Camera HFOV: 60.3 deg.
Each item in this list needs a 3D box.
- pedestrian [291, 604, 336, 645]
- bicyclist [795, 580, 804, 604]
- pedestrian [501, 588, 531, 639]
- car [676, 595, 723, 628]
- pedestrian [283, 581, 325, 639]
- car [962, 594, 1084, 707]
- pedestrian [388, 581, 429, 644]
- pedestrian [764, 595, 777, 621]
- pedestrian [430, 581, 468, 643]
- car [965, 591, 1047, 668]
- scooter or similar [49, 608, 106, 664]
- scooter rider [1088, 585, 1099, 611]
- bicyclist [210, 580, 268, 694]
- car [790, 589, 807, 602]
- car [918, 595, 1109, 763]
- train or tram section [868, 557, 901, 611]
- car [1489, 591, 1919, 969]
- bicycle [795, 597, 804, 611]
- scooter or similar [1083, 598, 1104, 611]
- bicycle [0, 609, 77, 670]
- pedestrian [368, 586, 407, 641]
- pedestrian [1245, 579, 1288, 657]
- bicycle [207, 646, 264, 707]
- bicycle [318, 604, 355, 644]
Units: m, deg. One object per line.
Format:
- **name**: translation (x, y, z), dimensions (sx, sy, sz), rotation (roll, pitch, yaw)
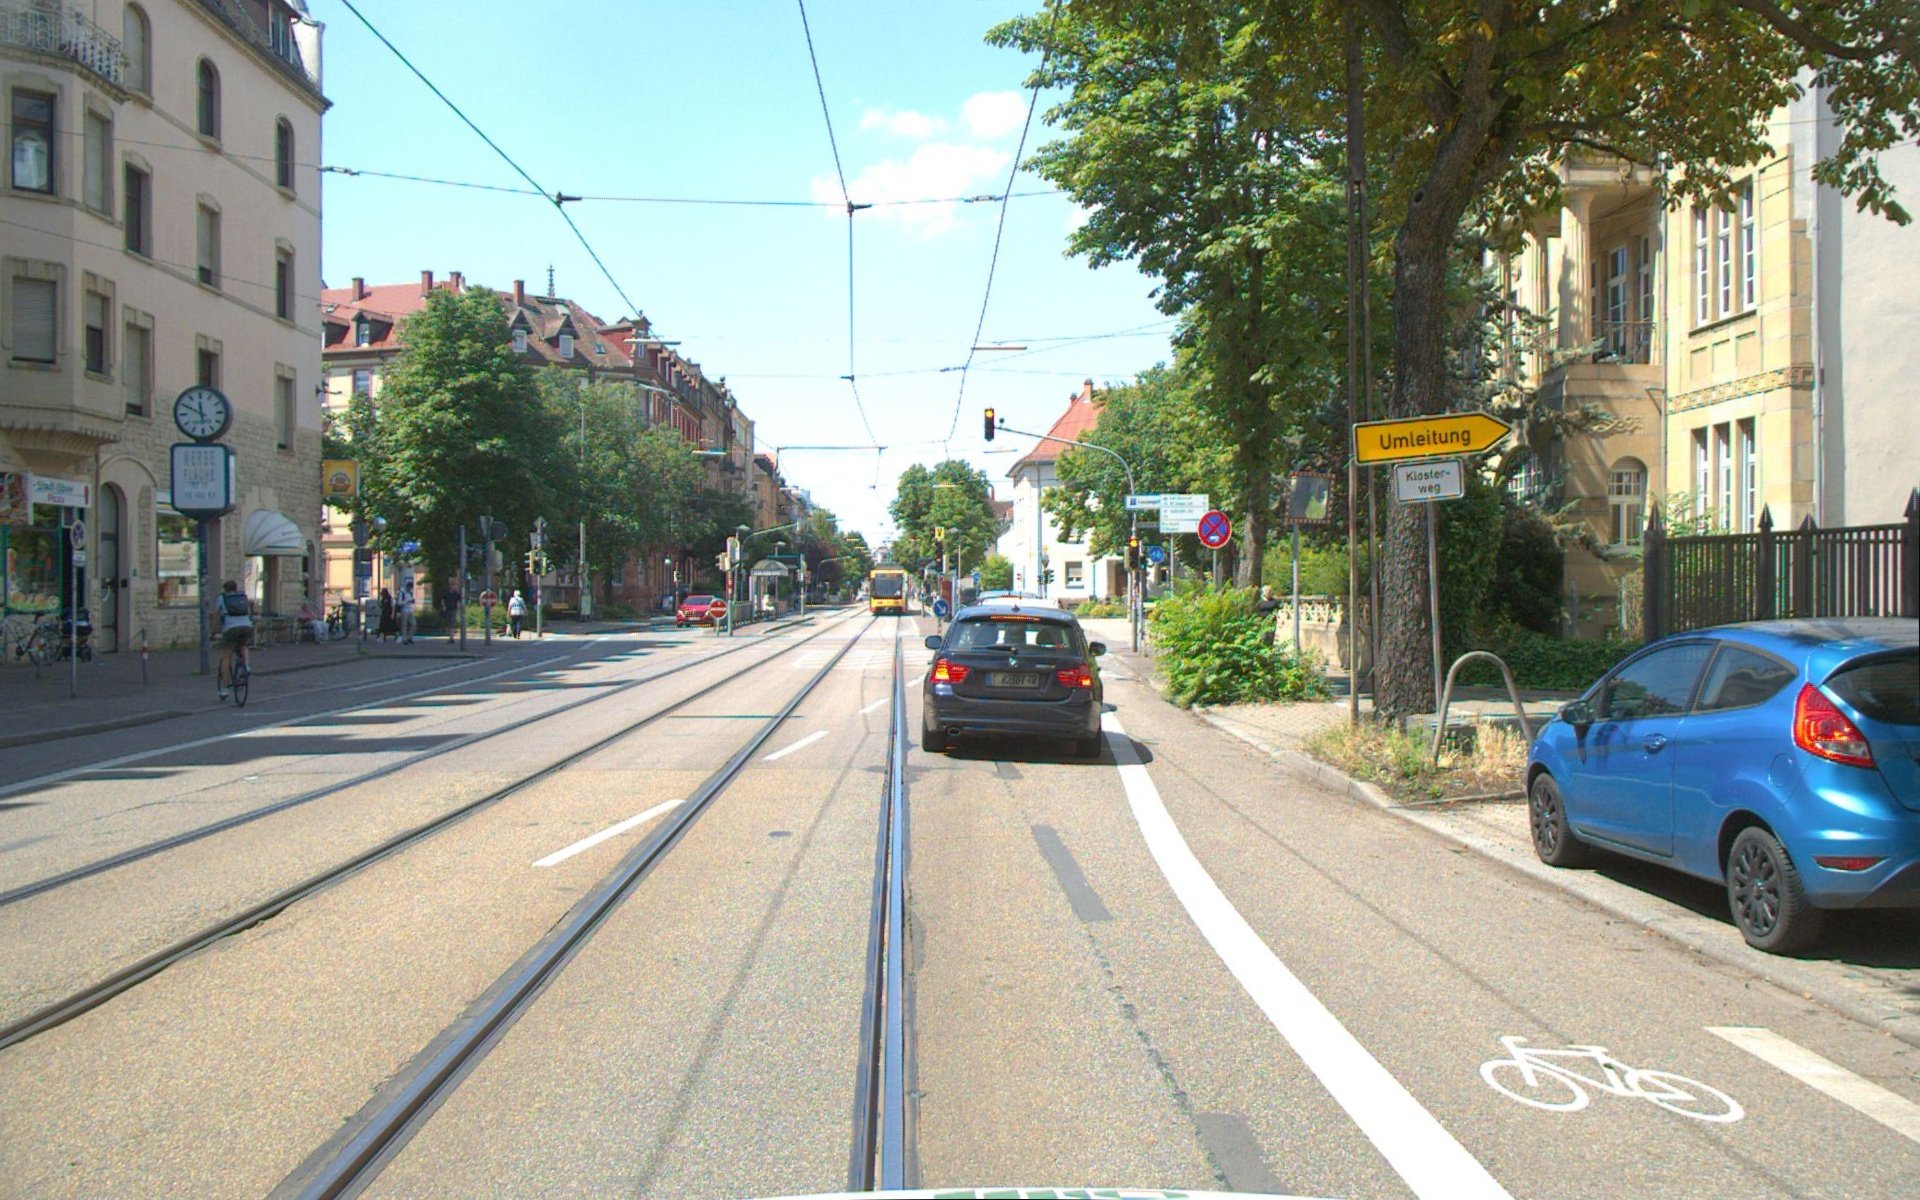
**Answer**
- **pedestrian**: translation (-17.659, 0.669, 45.210), dimensions (0.897, 1.096, 0.883), rotation (0, 0, -1)
- **bicyclist**: translation (-12.997, -0.626, 133.592), dimensions (0.709, 1.903, 0.824), rotation (0, 0, -7)
- **pedestrian**: translation (-15.354, 0.457, 57.234), dimensions (0.903, 1.753, 0.835), rotation (0, 0, -22)
- **car**: translation (-12.024, 0.508, 76.492), dimensions (1.787, 1.438, 4.425), rotation (-2, 0, -5)
- **pedestrian**: translation (-18.573, 0.266, 46.814), dimensions (0.899, 1.622, 0.808), rotation (0, 0, -6)
- **car**: translation (0.852, 0.680, 24.242), dimensions (1.650, 1.510, 3.684), rotation (0, 0, 0)
- **pedestrian**: translation (-15.793, 0.353, 47.351), dimensions (0.846, 1.763, 0.771), rotation (1, 0, 40)
- **pedestrian**: translation (-9.275, 0.368, 80.861), dimensions (0.602, 1.264, 0.627), rotation (0, 0, -8)
- **pedestrian**: translation (-16.218, 0.376, 52.518), dimensions (0.882, 1.924, 1.164), rotation (0, 0, -3)
- **car**: translation (0.988, 0.594, 36.018), dimensions (1.656, 1.540, 3.822), rotation (2, 0, 1)
- **scooter or similar**: translation (-17.251, 0.703, 32.335), dimensions (0.690, 1.062, 1.191), rotation (2, -1, -42)
- **scooter rider**: translation (8.868, -0.154, 109.848), dimensions (0.579, 1.716, 0.527), rotation (0, 0, -7)
- **bicyclist**: translation (-10.993, 0.557, 25.229), dimensions (0.745, 1.692, 0.825), rotation (1, -1, -22)
- **car**: translation (-20.080, -0.556, 205.087), dimensions (1.755, 1.614, 3.990), rotation (1, 0, -10)
- **car**: translation (0.537, 0.707, 17.259), dimensions (1.687, 1.433, 4.565), rotation (2, 0, 1)
- **train or tram section**: translation (-5.166, -1.072, 113.838), dimensions (2.146, 3.543, 8.841), rotation (0, 0, -2)
- **car**: translation (4.353, 0.744, 8.817), dimensions (1.644, 1.468, 3.719), rotation (-4, 1, -3)
- **bicycle**: translation (-12.980, 0.294, 133.662), dimensions (0.714, 1.121, 1.714), rotation (0, 0, -4)
- **scooter or similar**: translation (8.881, 0.320, 109.831), dimensions (1.287, 0.852, 0.526), rotation (0, 0, -8)
- **bicycle**: translation (-16.990, 0.716, 30.354), dimensions (0.362, 1.084, 1.465), rotation (1, -1, 21)
- **pedestrian**: translation (-17.352, 0.404, 50.149), dimensions (0.843, 1.664, 1.026), rotation (0, 0, -3)
- **pedestrian**: translation (6.598, 0.383, 35.640), dimensions (0.838, 1.674, 0.837), rotation (0, 0, 6)
- **bicycle**: translation (-11.029, 1.143, 25.226), dimensions (0.742, 0.832, 1.808), rotation (0, 0, -22)
- **bicycle**: translation (-18.371, 0.712, 48.721), dimensions (0.539, 1.148, 1.659), rotation (0, -2, -39)
